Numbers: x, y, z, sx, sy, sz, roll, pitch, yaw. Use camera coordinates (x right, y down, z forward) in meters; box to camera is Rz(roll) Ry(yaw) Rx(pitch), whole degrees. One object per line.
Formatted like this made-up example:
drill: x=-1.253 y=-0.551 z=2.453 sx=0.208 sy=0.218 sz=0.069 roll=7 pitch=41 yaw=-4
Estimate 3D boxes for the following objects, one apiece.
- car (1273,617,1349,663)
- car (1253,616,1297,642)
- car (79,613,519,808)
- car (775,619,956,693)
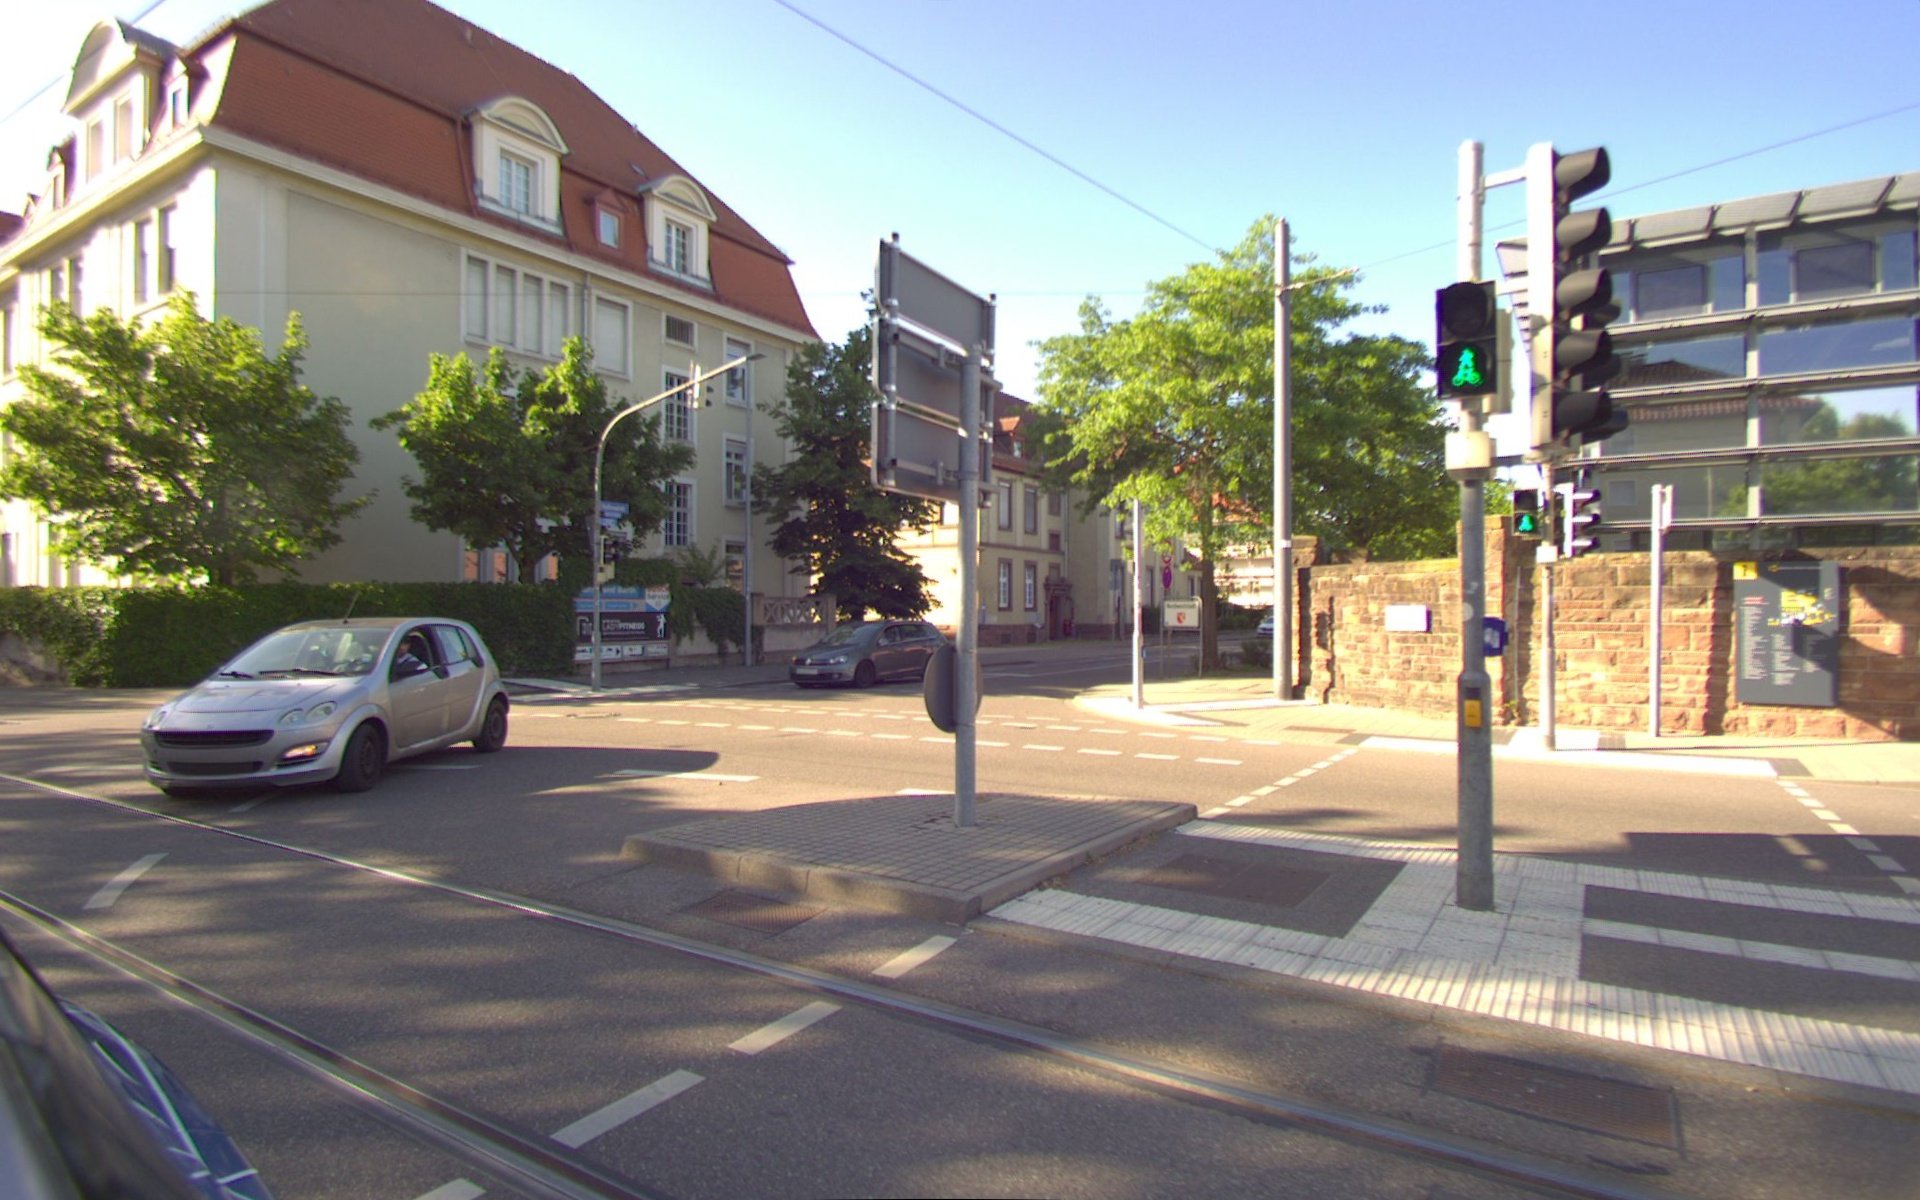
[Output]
car: x=12.238 y=1.356 z=35.150 sx=1.737 sy=1.470 sz=3.728 roll=-1 pitch=-1 yaw=32
car: x=19.834 y=1.799 z=63.601 sx=1.737 sy=1.469 sz=3.728 roll=3 pitch=1 yaw=32
car: x=-5.804 y=0.873 z=9.503 sx=1.719 sy=1.470 sz=3.692 roll=0 pitch=-1 yaw=0
car: x=-1.972 y=1.160 z=22.352 sx=1.737 sy=1.470 sz=4.357 roll=-1 pitch=-1 yaw=32
